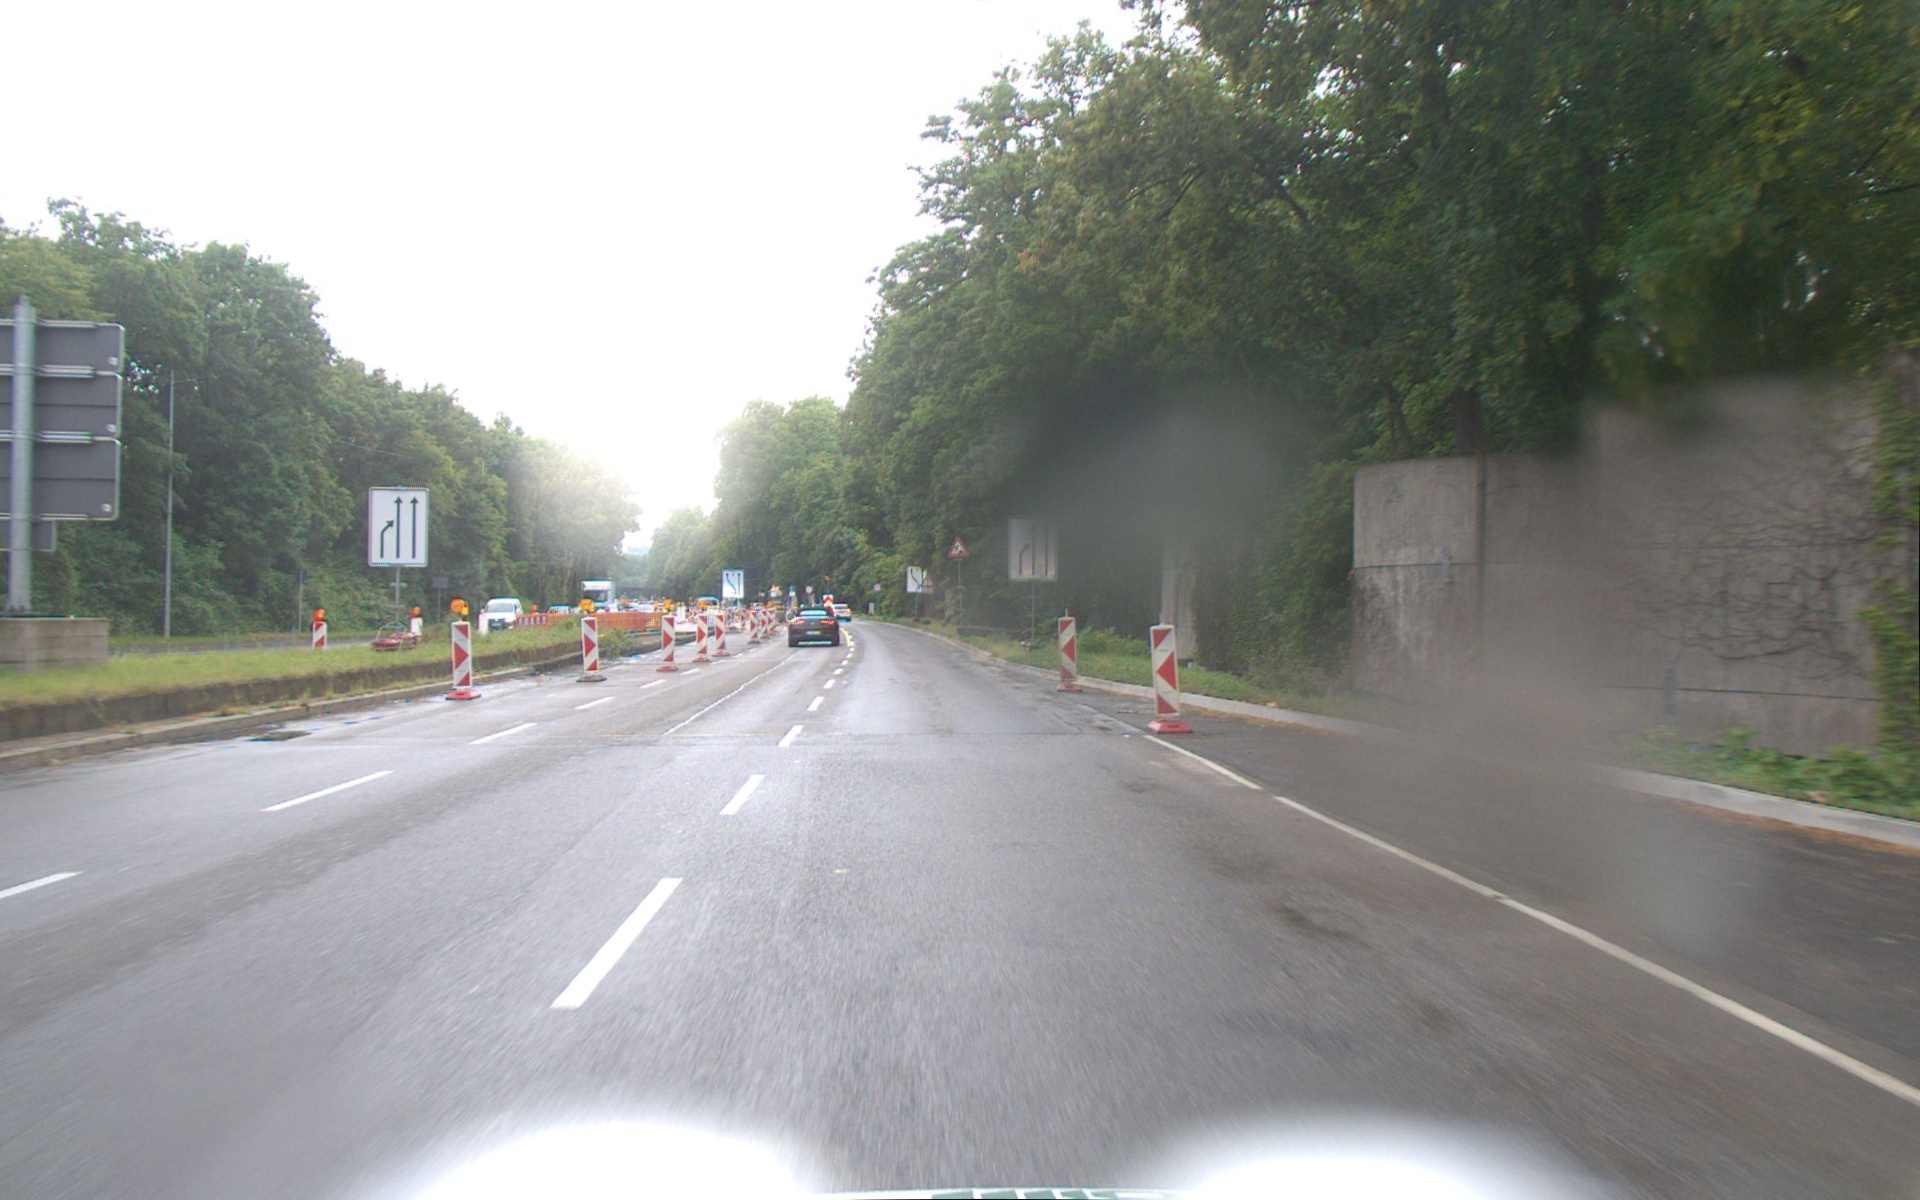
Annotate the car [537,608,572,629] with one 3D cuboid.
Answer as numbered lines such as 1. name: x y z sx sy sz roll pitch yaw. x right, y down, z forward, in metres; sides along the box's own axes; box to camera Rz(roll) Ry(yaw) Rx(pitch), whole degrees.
1. car: -28.487 1.319 116.289 1.755 1.450 3.893 -1 -1 -4

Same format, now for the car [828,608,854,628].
1. car: -10.154 1.519 140.949 1.878 1.626 4.825 0 0 -8

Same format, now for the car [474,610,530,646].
1. car: -24.012 1.434 86.908 1.876 1.812 4.829 0 0 -4

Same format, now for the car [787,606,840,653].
1. car: -5.376 1.061 60.824 1.826 1.517 3.997 1 2 -5

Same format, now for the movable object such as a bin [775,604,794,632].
1. movable object such as a bin: -18.818 1.934 177.396 1.714 2.918 3.526 -1 -1 -9

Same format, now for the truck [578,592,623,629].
1. truck: -32.476 1.010 149.711 2.741 3.203 10.136 0 -1 -5
